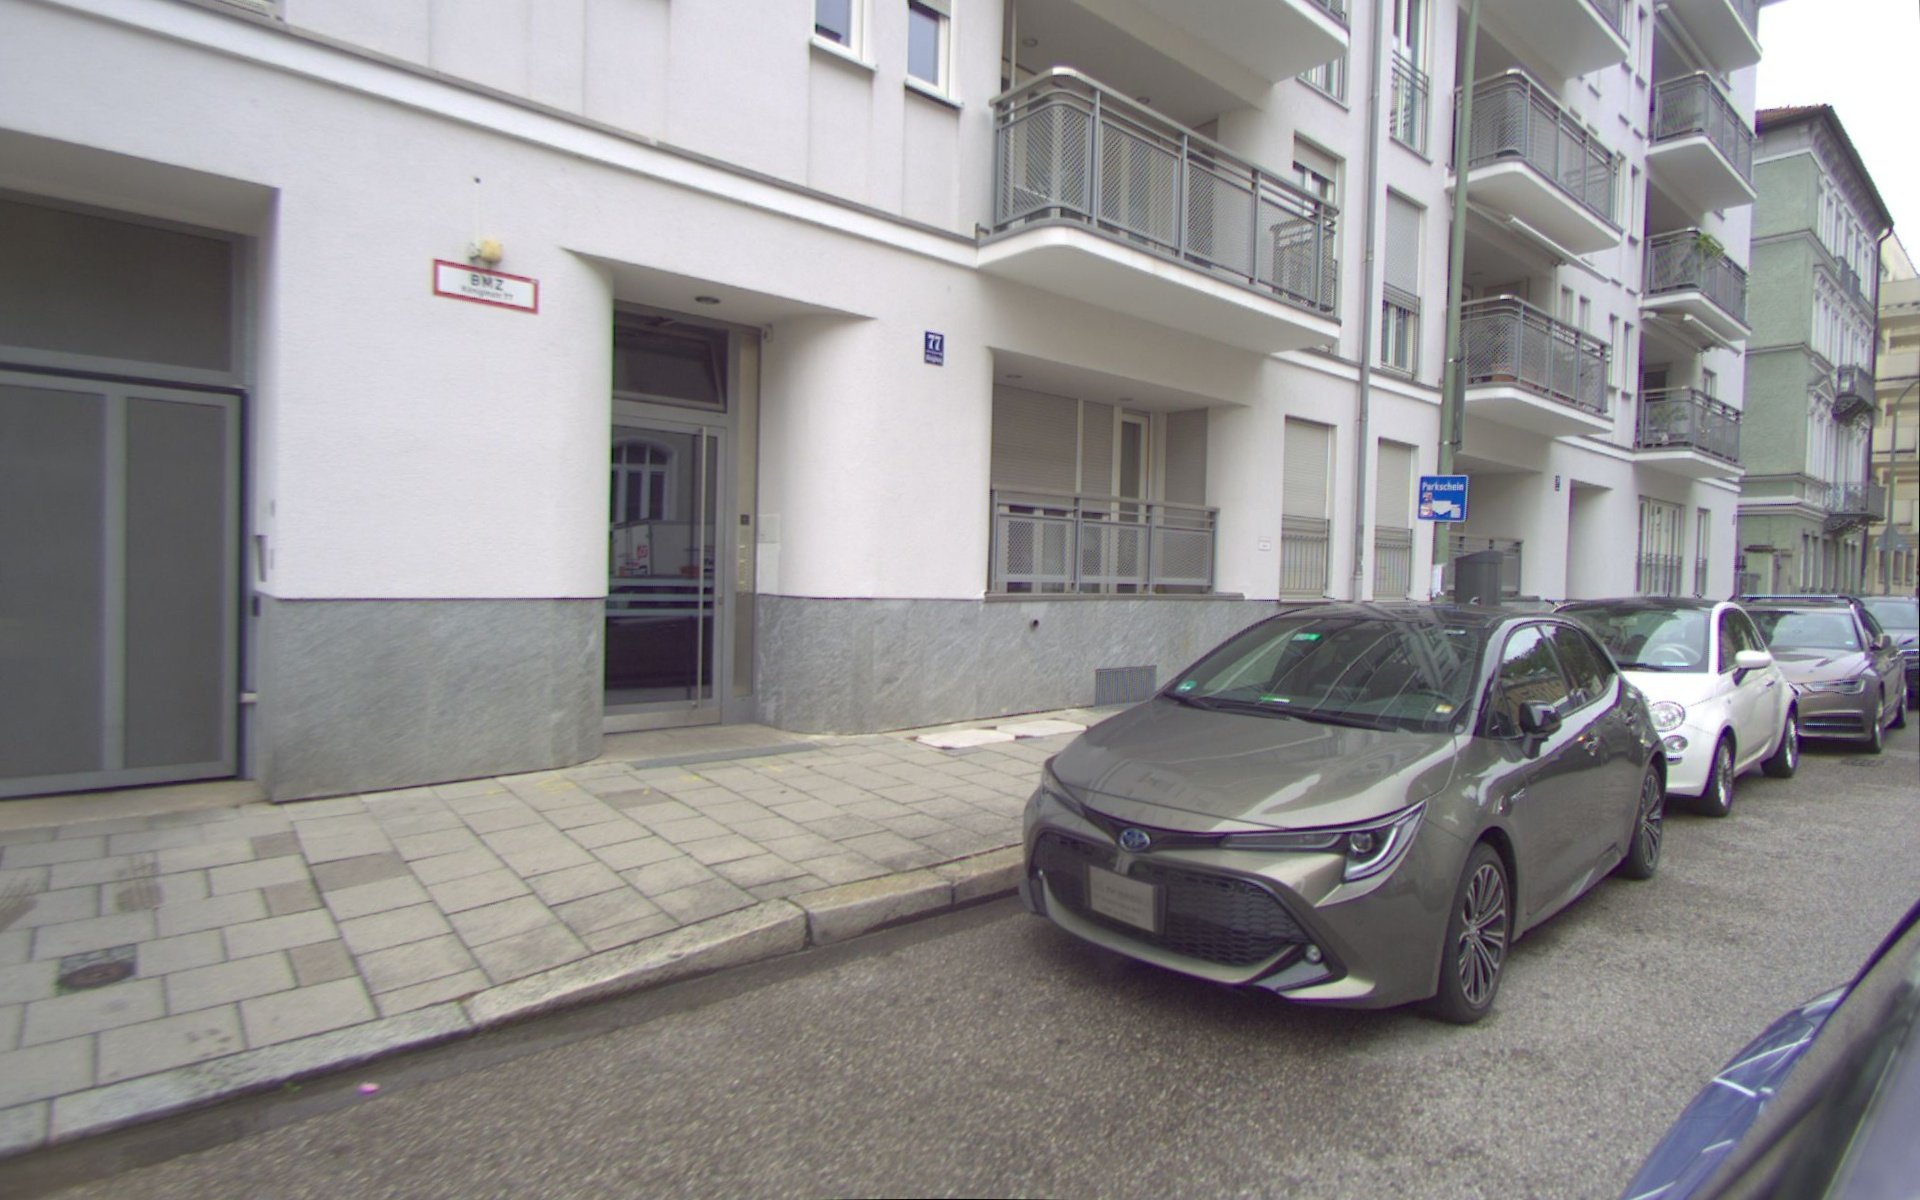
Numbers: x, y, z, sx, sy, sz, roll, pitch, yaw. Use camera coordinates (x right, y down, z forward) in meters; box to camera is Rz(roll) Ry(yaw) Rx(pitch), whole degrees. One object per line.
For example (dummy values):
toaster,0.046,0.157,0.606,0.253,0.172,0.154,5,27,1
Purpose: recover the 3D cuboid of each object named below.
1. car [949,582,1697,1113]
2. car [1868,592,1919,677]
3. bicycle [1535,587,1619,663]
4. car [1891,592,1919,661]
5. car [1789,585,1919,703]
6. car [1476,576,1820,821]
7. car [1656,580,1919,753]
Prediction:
car,2.003,0.649,4.822,4.011,1.425,1.765,-1,2,-44
car,18.146,0.578,18.683,4.135,1.458,1.660,0,0,-43
bicycle,10.196,0.382,16.683,2.092,1.174,0.628,0,2,-43
car,21.624,0.544,22.115,3.494,1.430,1.620,-1,0,-43
car,13.657,0.573,14.978,3.916,1.550,1.605,0,0,-43
car,5.628,0.608,8.134,3.466,1.549,1.521,0,0,-42
car,9.371,0.586,11.238,4.543,1.550,1.736,0,0,-43
